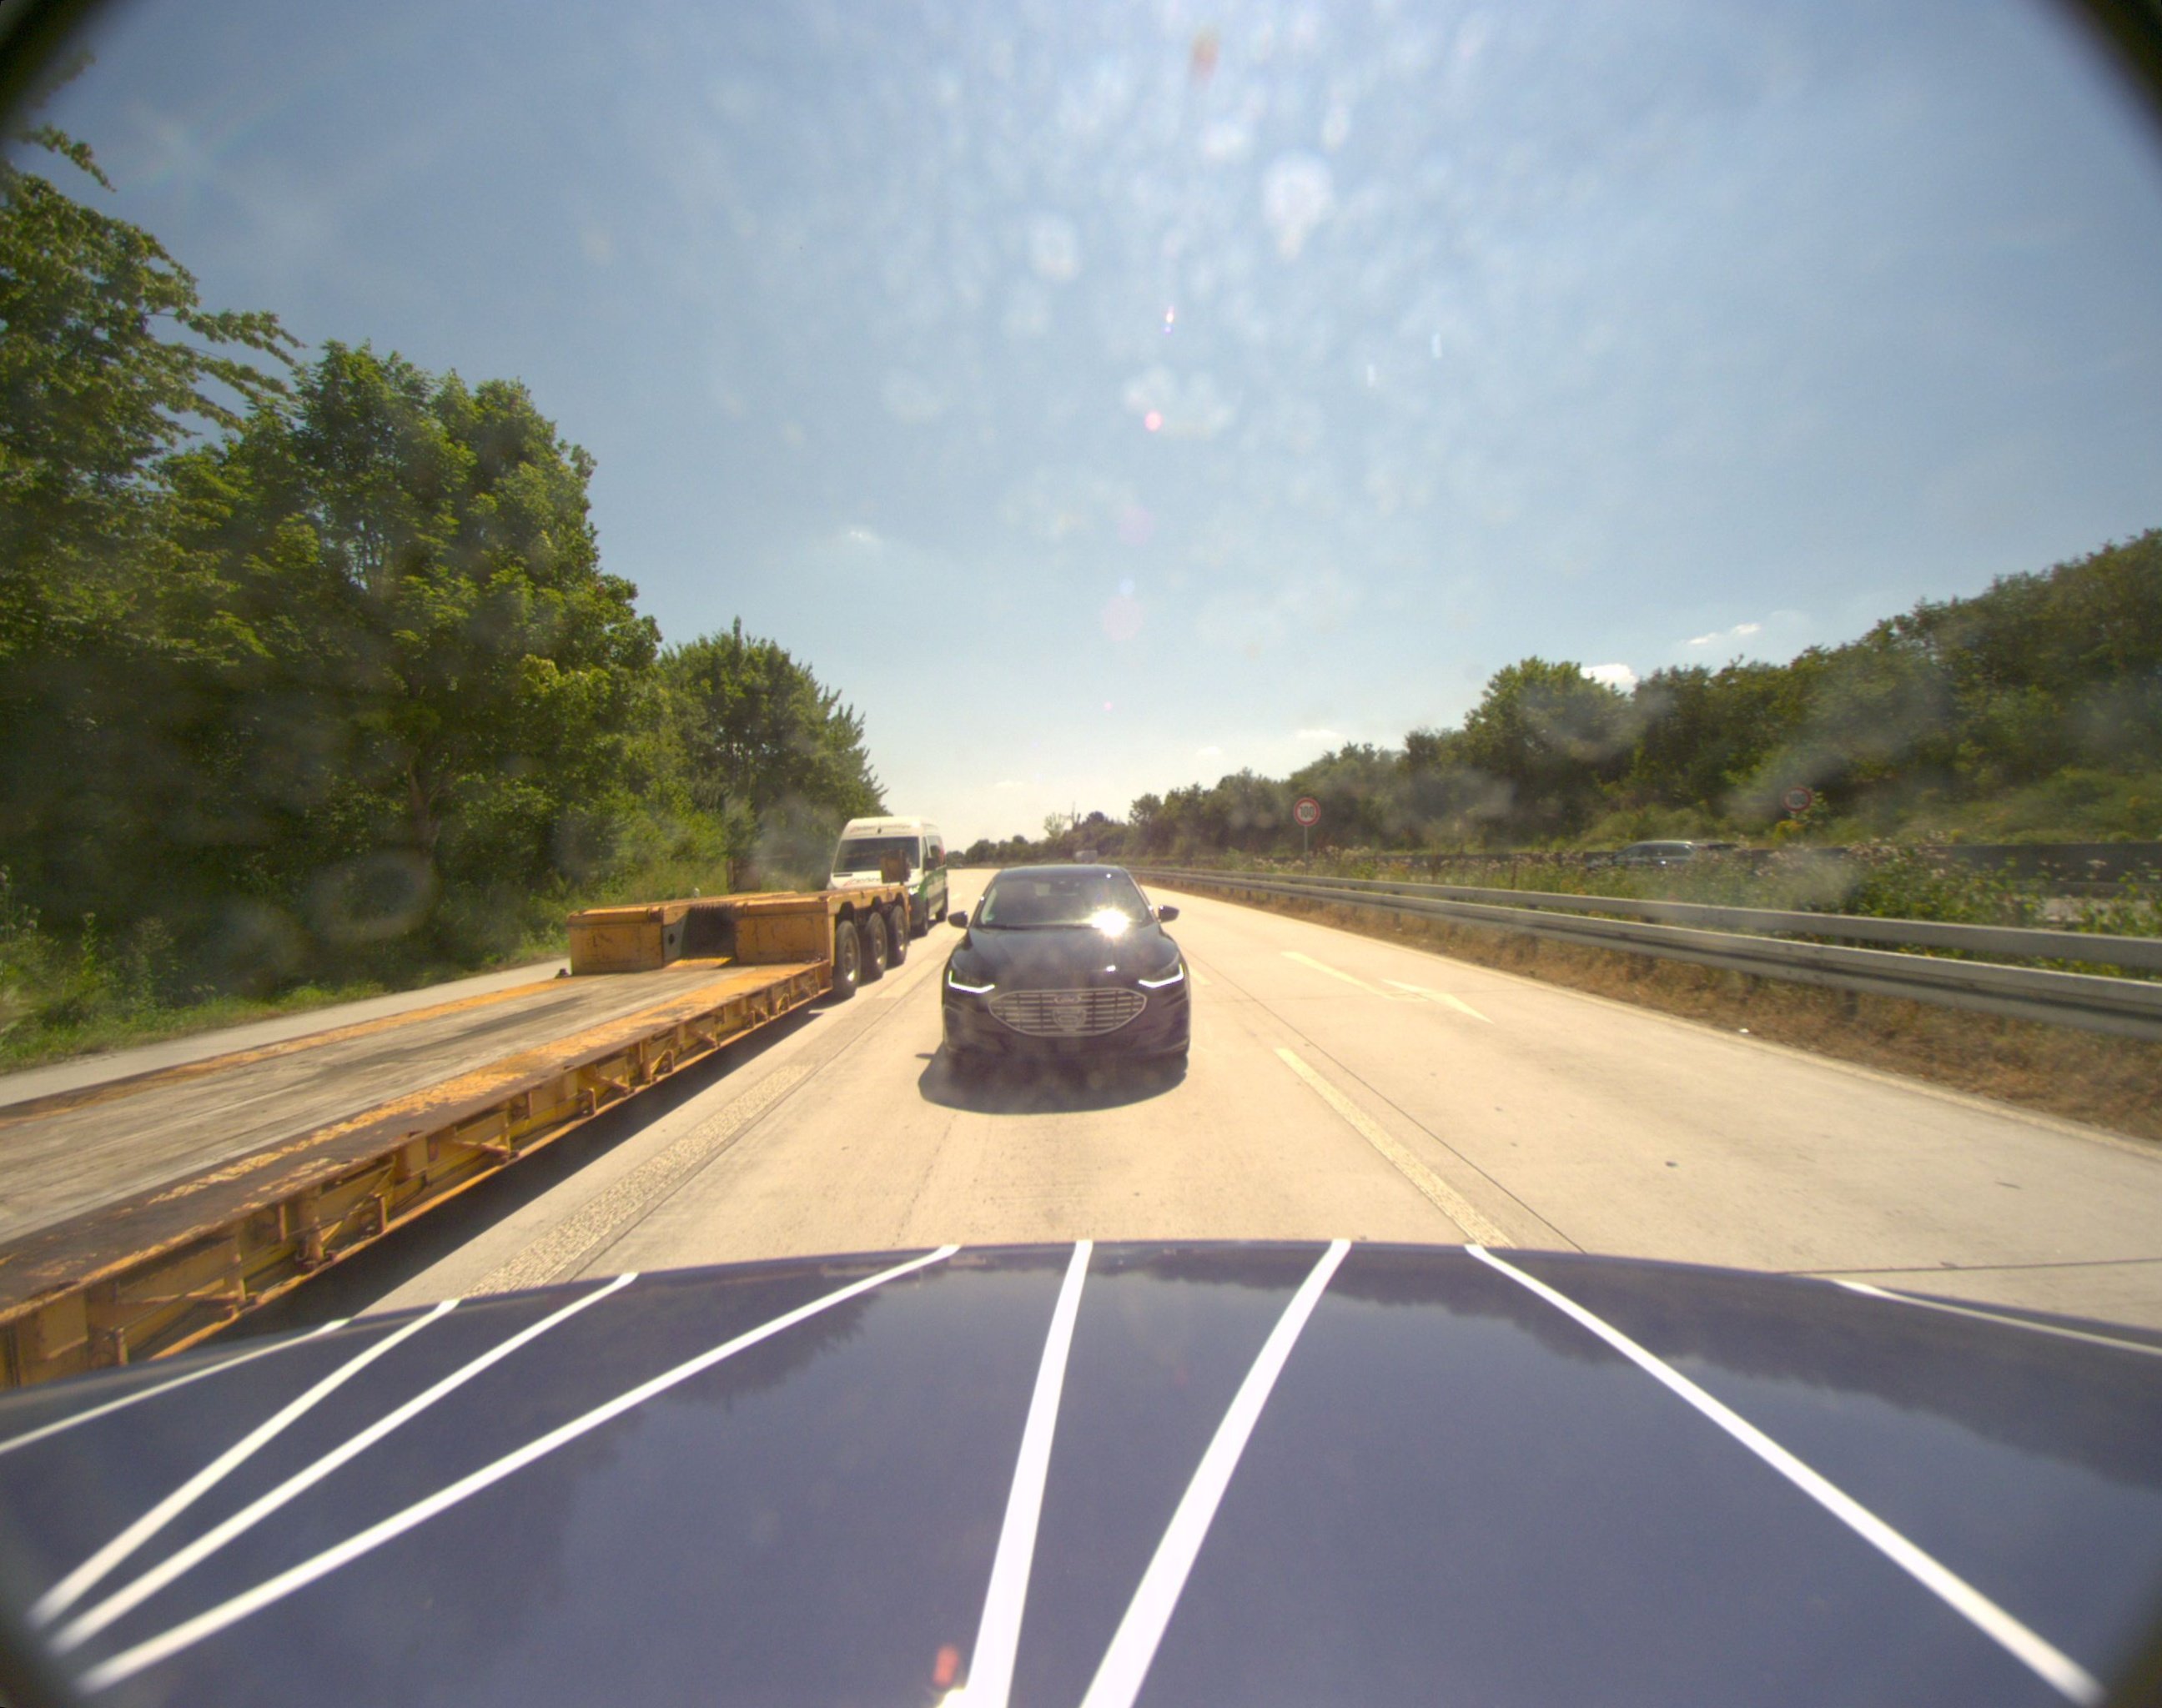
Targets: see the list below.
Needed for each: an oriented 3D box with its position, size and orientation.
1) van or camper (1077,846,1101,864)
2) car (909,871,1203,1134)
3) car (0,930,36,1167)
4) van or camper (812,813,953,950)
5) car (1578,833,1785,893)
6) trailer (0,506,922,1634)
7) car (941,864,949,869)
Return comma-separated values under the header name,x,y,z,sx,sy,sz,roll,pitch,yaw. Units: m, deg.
name,x,y,z,sx,sy,sz,roll,pitch,yaw
van or camper,0.958,0.094,92.299,2.178,2.002,5.635,-2,1,-6
car,-0.121,0.953,6.762,1.731,1.430,4.304,-2,0,1
car,-7.566,1.262,2.539,1.772,1.453,4.597,-2,1,-1
van or camper,-4.291,0.502,17.541,2.069,2.559,5.904,-2,1,-5
car,16.551,0.205,21.316,1.878,1.438,4.600,-2,1,-5
trailer,-4.021,0.528,3.790,3.035,2.578,16.355,-2,0,0
car,-42.123,3.832,235.447,1.709,1.456,3.992,-3,1,-23
